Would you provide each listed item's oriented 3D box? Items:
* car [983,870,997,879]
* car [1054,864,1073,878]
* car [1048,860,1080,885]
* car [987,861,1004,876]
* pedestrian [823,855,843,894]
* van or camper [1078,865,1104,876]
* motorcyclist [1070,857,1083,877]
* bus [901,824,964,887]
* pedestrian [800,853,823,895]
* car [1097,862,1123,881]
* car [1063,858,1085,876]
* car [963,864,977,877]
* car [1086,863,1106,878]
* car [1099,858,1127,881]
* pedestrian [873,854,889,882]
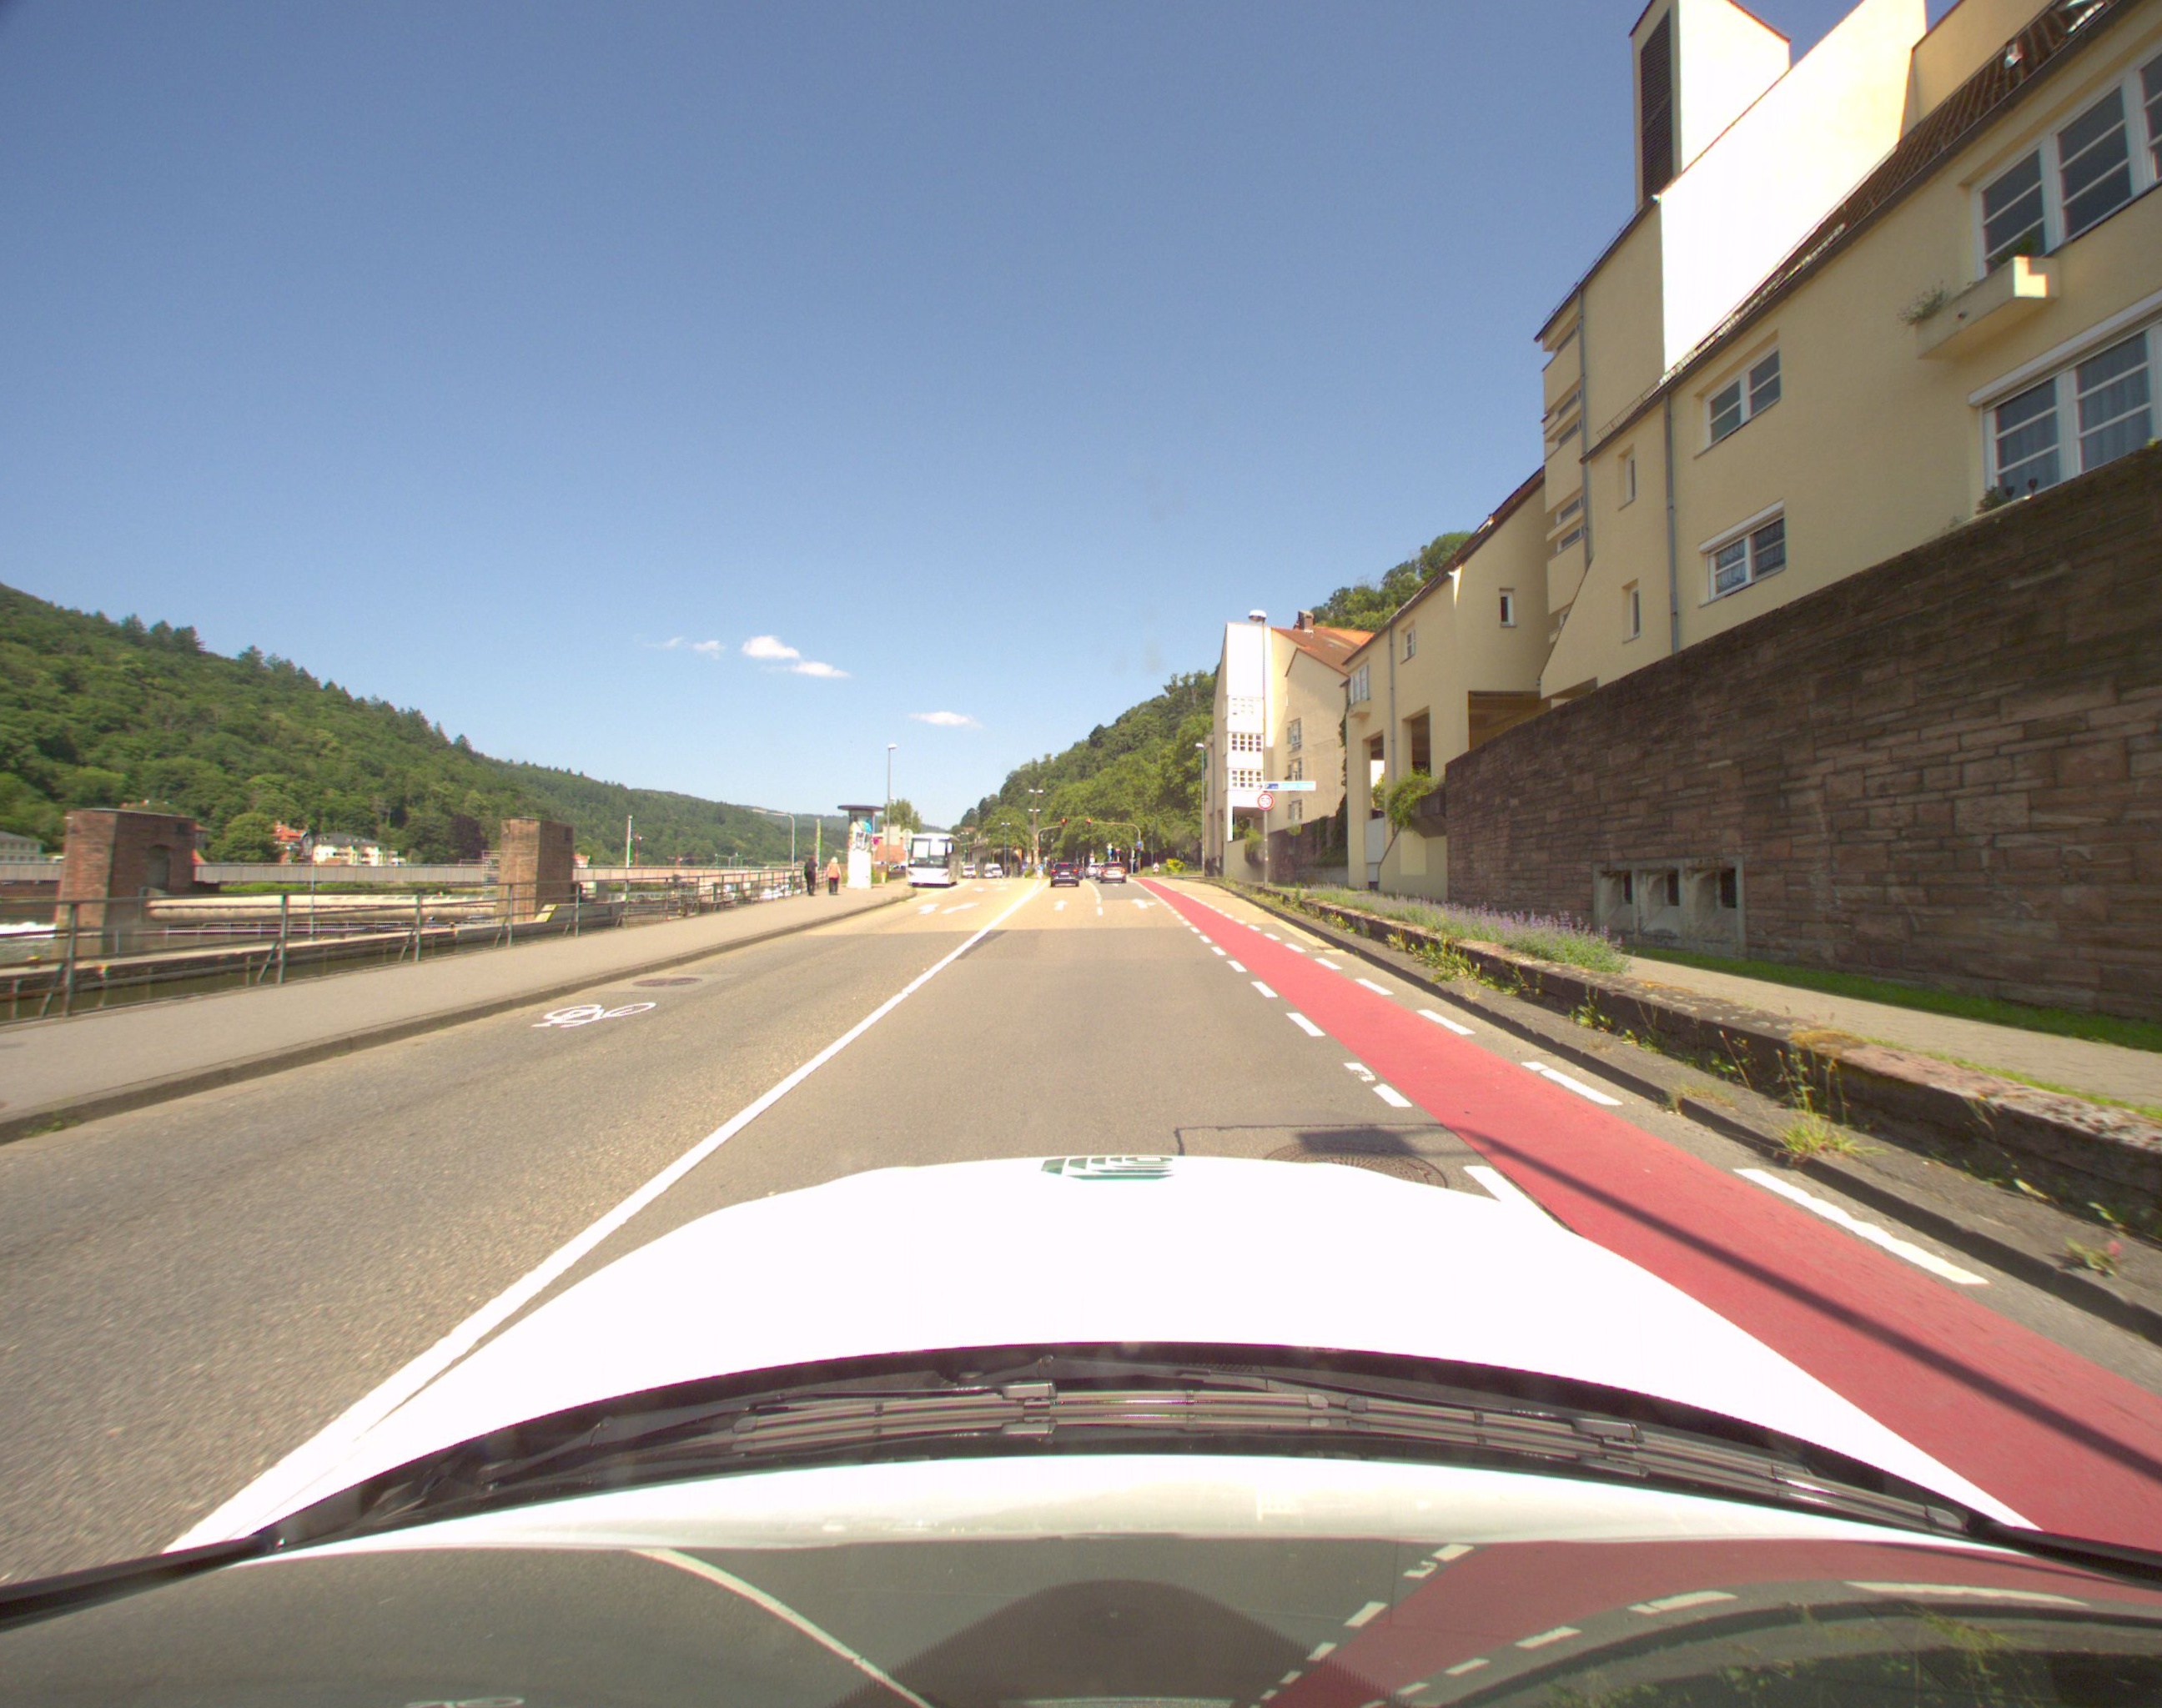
[{"bbox_3d":[-15.420,3.380,137.375,1.994,1.432,4.152,-1,0,-10],"label":"car"},{"bbox_3d":[-1.851,1.704,83.236,1.862,1.359,3.996,-1,-1,-3],"label":"car"},{"bbox_3d":[-1.030,1.176,51.273,1.863,1.514,4.150,1,-1,0],"label":"car"},{"bbox_3d":[-15.552,2.684,147.872,2.387,2.576,6.025,-1,-1,-14],"label":"car"},{"bbox_3d":[-10.449,0.879,34.359,0.702,1.621,0.814,0,-1,-8],"label":"pedestrian"},{"bbox_3d":[1.968,3.211,159.164,4.508,1.902,2.008,-2,-1,15],"label":"van or camper"},{"bbox_3d":[-0.407,1.078,69.156,1.072,1.684,1.155,-1,-1,-1],"label":"motorcyclist"},{"bbox_3d":[-10.281,0.189,57.905,2.952,3.801,13.219,3,-1,-5],"label":"bus"},{"bbox_3d":[-10.945,0.812,33.071,0.681,1.709,0.772,0,-1,-3],"label":"pedestrian"},{"bbox_3d":[2.409,1.459,68.000,1.987,1.534,4.857,0,-1,0],"label":"car"},{"bbox_3d":[-0.667,1.201,75.600,1.862,1.562,3.996,-1,-1,-3],"label":"car"},{"bbox_3d":[-18.847,2.774,138.177,2.214,2.078,5.027,-1,0,-9],"label":"car"},{"bbox_3d":[1.505,1.686,83.231,1.780,1.532,4.734,-1,-1,-1],"label":"car"},{"bbox_3d":[2.260,1.124,58.775,1.882,1.521,4.304,1,-1,0],"label":"car"},{"bbox_3d":[-13.167,0.931,53.676,0.891,1.796,1.038,0,-1,-6],"label":"pedestrian"}]
